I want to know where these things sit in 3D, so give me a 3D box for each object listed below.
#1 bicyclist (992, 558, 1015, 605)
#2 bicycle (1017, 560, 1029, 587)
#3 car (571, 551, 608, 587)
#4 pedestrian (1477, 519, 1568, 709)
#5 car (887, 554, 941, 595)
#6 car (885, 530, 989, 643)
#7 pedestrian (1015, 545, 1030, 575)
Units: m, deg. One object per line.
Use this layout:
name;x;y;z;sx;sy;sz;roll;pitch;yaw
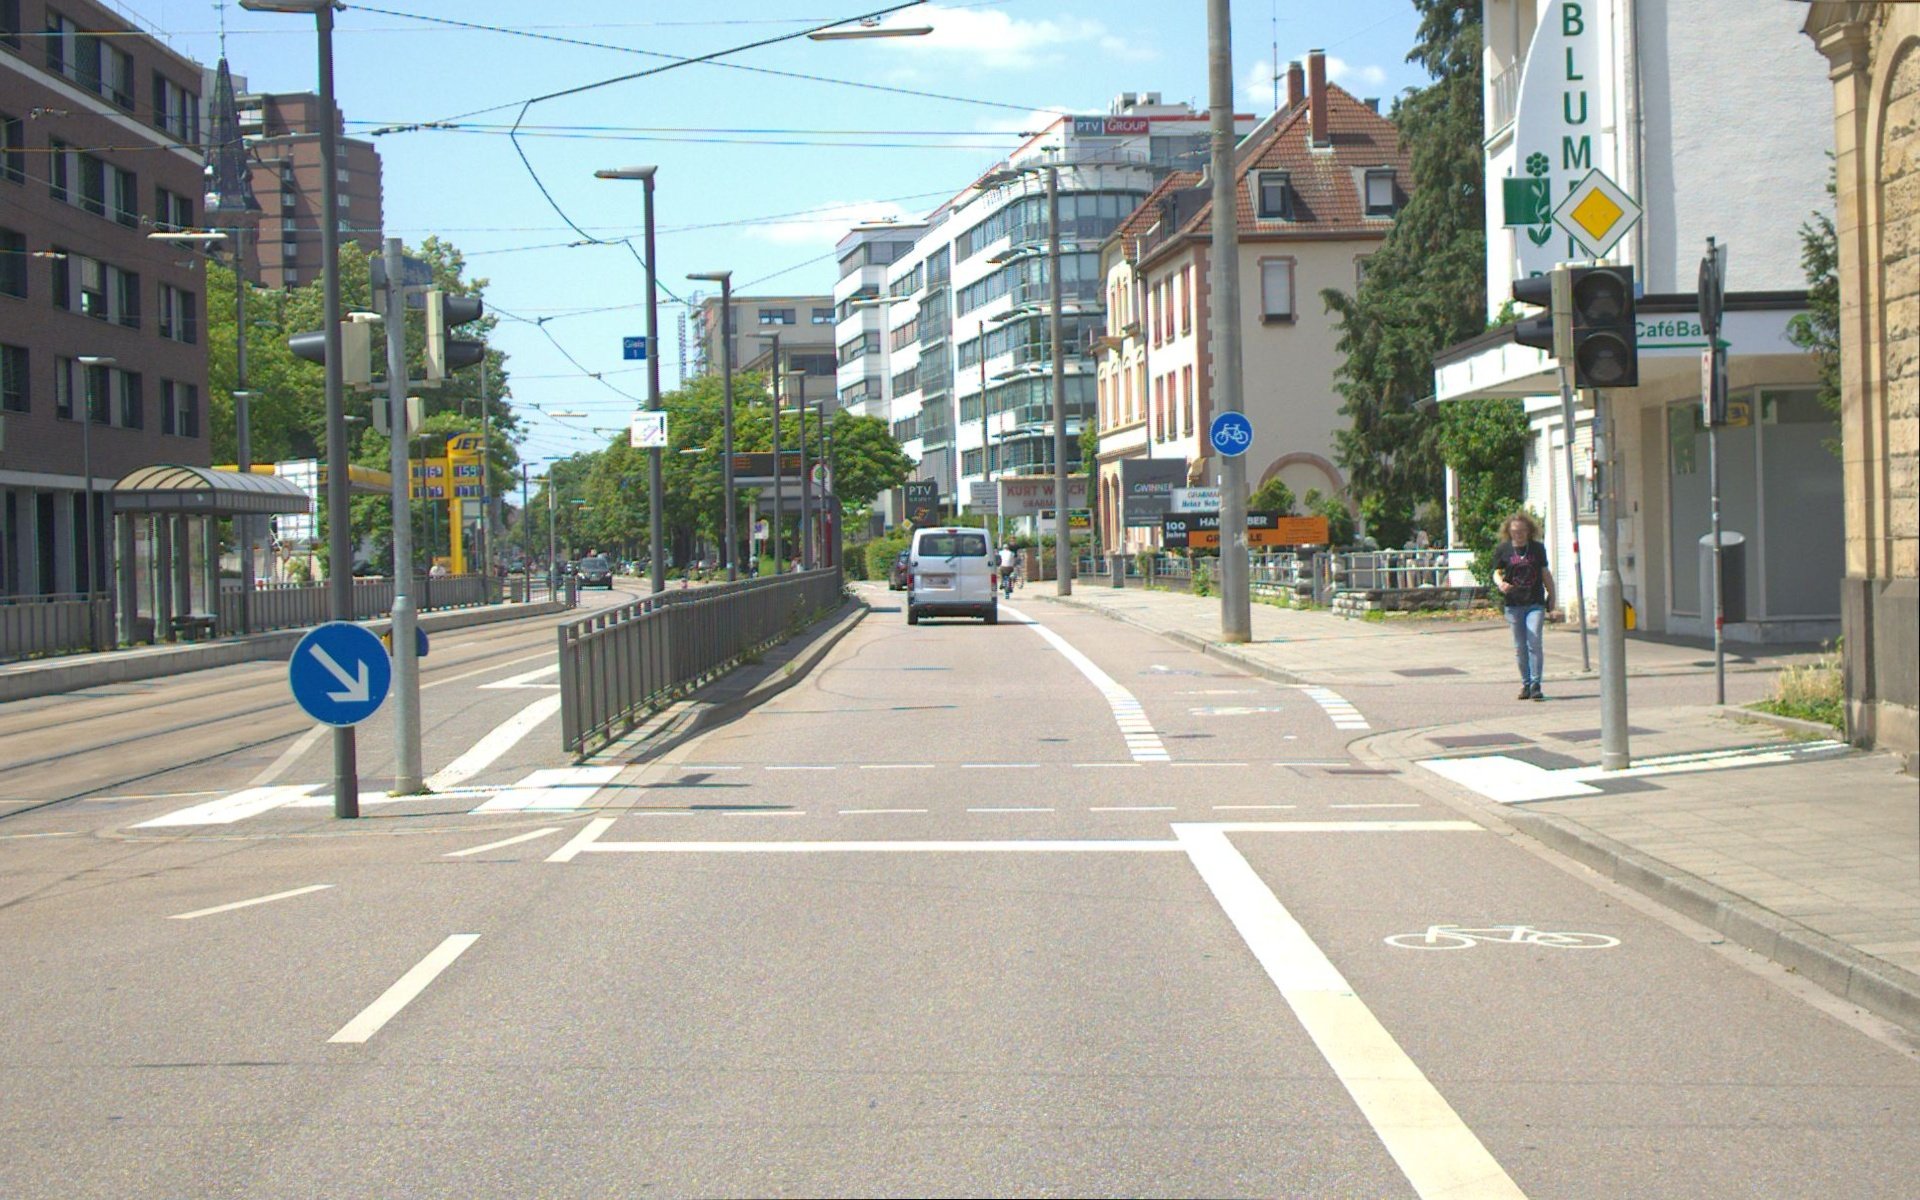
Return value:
bicyclist;1.301;-0.546;102.765;0.591;1.392;0.842;-1;1;-5
bicycle;2.255;-0.950;122.698;0.356;0.937;1.317;-3;0;1
car;-19.177;-1.588;177.703;1.698;1.610;3.758;-4;-1;-7
pedestrian;4.734;0.115;28.974;0.577;1.551;0.786;-3;0;3
car;-2.026;-1.123;149.048;1.863;1.681;5.001;-2;1;-5
car;-0.477;-0.293;65.955;1.752;2.006;4.001;-3;2;-2
pedestrian;2.229;-1.436;122.714;0.483;1.050;0.537;-3;0;1
